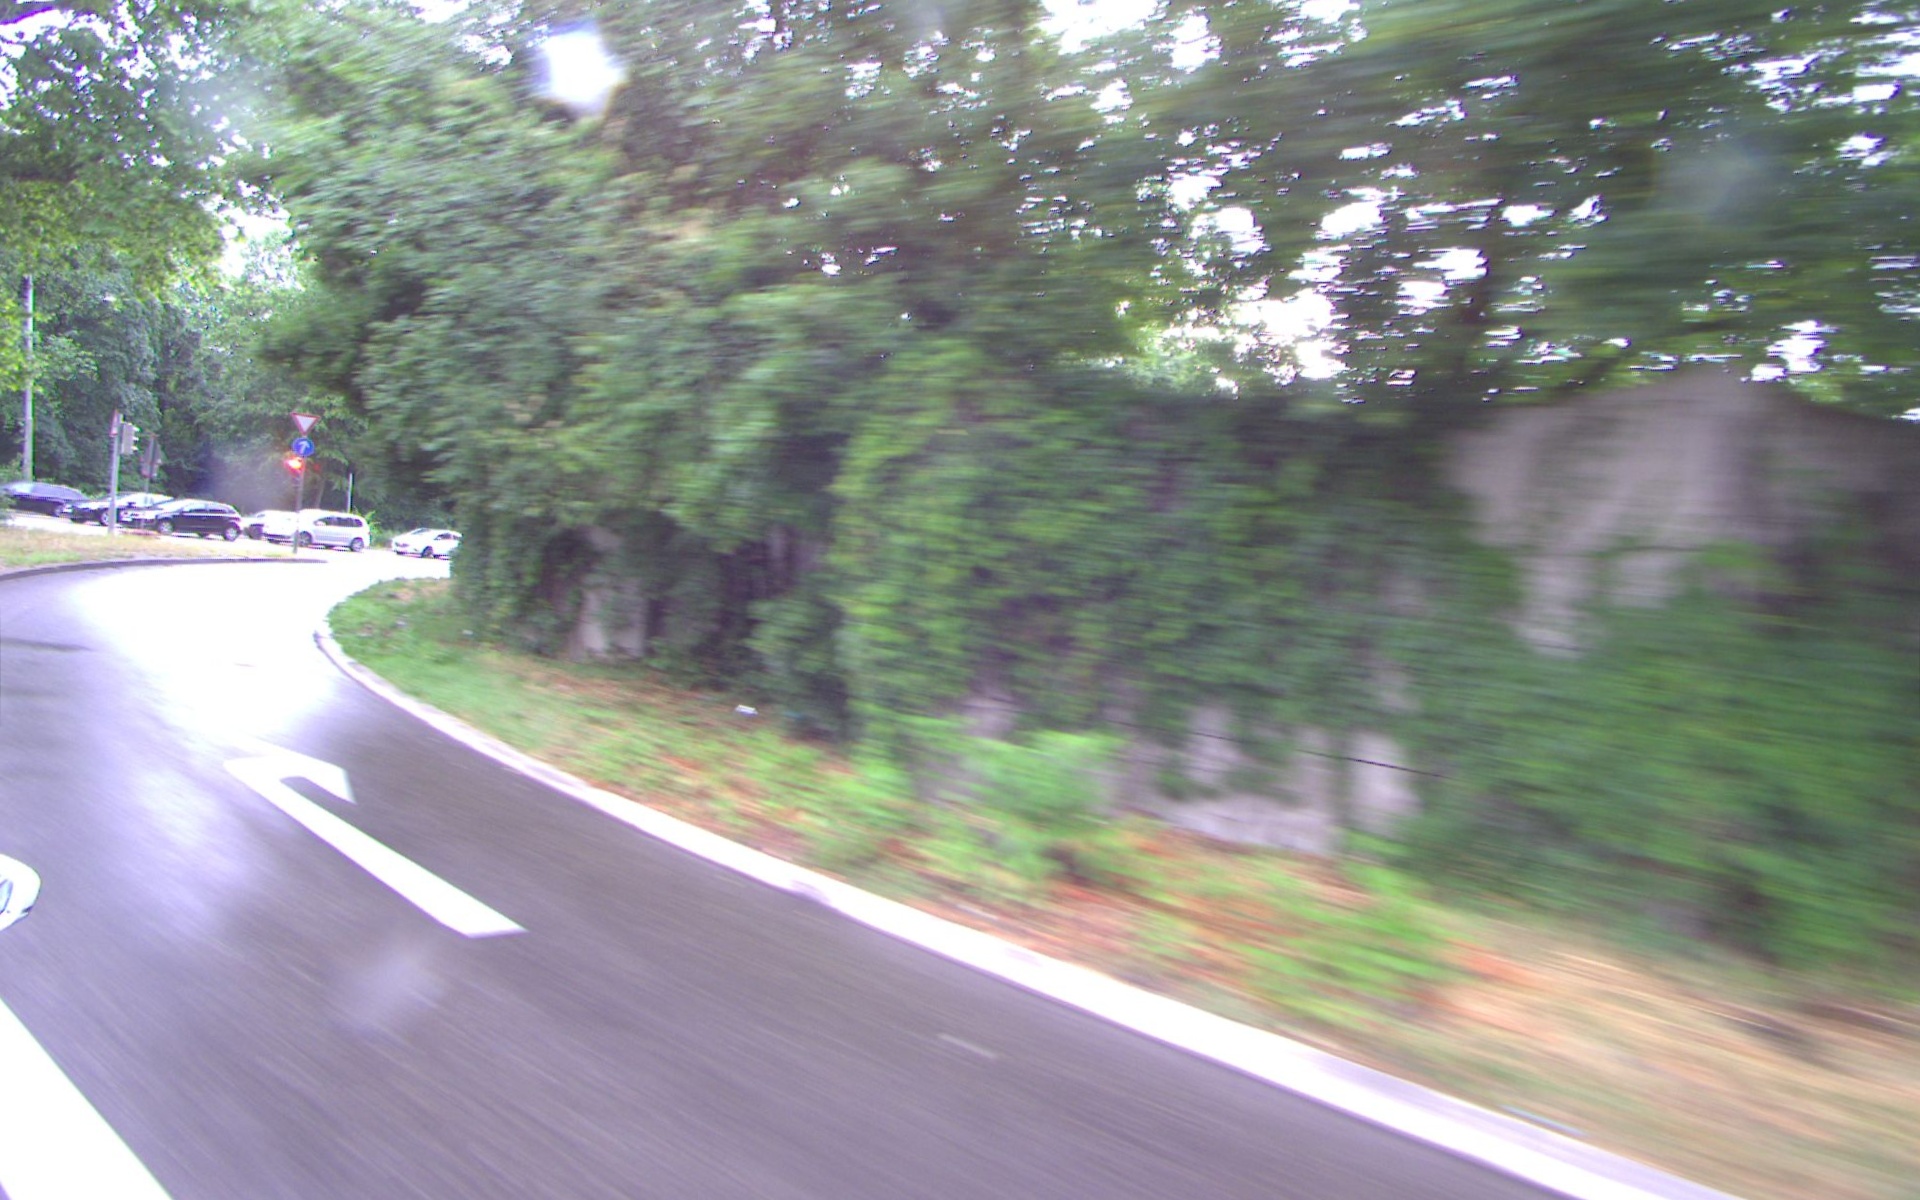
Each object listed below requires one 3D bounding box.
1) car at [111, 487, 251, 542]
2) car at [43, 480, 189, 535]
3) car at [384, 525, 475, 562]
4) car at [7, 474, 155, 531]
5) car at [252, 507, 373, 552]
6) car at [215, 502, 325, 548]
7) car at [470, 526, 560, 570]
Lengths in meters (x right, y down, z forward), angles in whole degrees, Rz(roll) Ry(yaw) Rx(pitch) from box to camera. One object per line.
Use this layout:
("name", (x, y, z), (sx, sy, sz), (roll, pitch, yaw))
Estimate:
("car", (-29.471, -3.191, 38.189), (1.641, 1.503, 3.866), (6, 0, 19))
("car", (-33.080, -3.580, 39.598), (1.843, 1.504, 4.001), (7, 0, 14))
("car", (-26.477, -2.786, 50.347), (1.740, 1.506, 3.997), (6, 2, 14))
("car", (-37.776, -4.166, 43.339), (2.101, 1.860, 4.338), (7, 2, 33))
("car", (-28.179, -3.036, 43.936), (1.741, 1.506, 4.270), (6, 2, 18))
("car", (-31.023, -3.355, 45.354), (1.712, 1.504, 3.836), (7, 0, 14))
("car", (-24.801, -2.853, 56.235), (1.872, 1.947, 4.861), (7, 0, 14))
